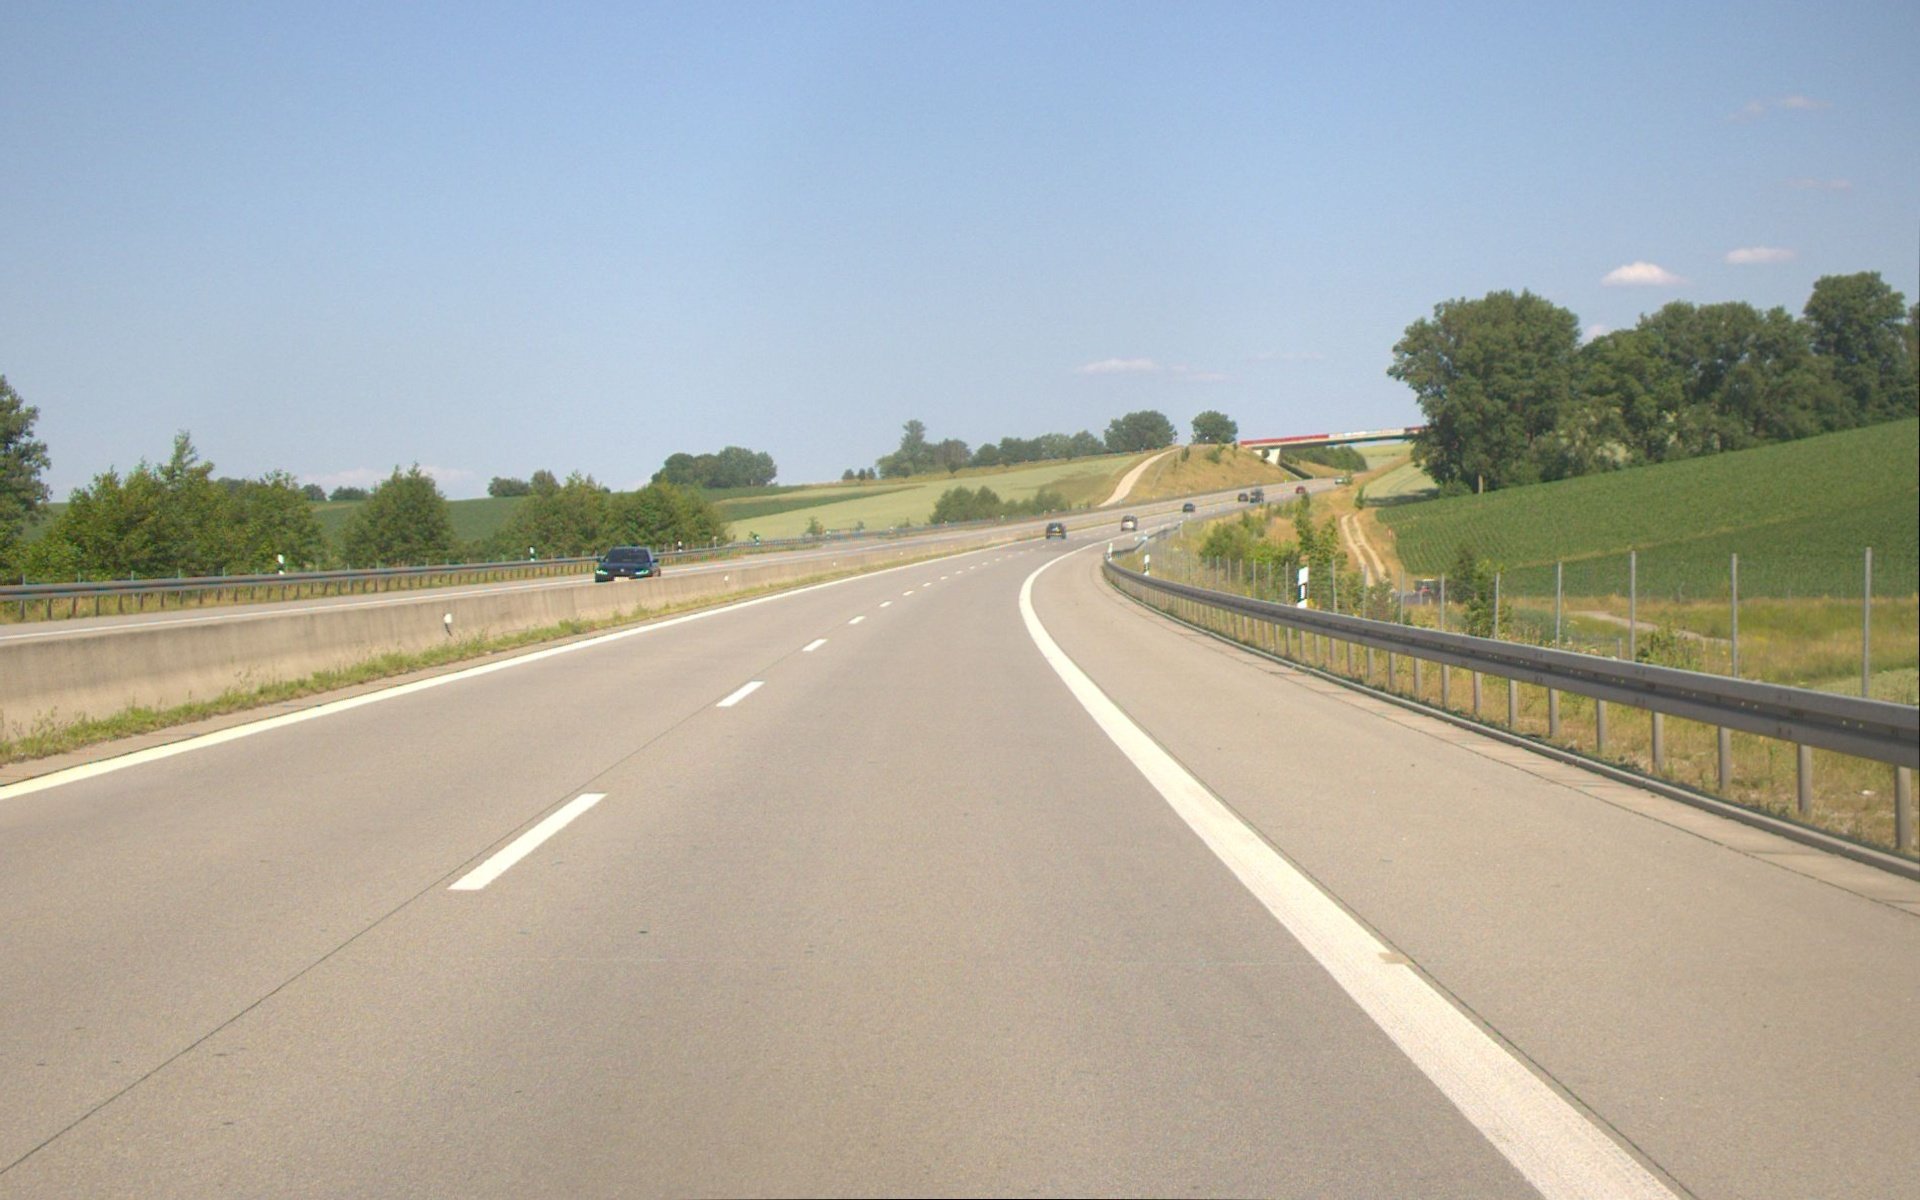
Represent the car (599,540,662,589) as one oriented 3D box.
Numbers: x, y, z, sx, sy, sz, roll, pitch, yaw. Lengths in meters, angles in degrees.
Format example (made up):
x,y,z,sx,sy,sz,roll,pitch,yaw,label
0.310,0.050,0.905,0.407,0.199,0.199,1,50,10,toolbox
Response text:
x,y,z,sx,sy,sz,roll,pitch,yaw,label
-11.028,-1.175,115.363,1.710,1.584,4.627,1,0,-1,car
